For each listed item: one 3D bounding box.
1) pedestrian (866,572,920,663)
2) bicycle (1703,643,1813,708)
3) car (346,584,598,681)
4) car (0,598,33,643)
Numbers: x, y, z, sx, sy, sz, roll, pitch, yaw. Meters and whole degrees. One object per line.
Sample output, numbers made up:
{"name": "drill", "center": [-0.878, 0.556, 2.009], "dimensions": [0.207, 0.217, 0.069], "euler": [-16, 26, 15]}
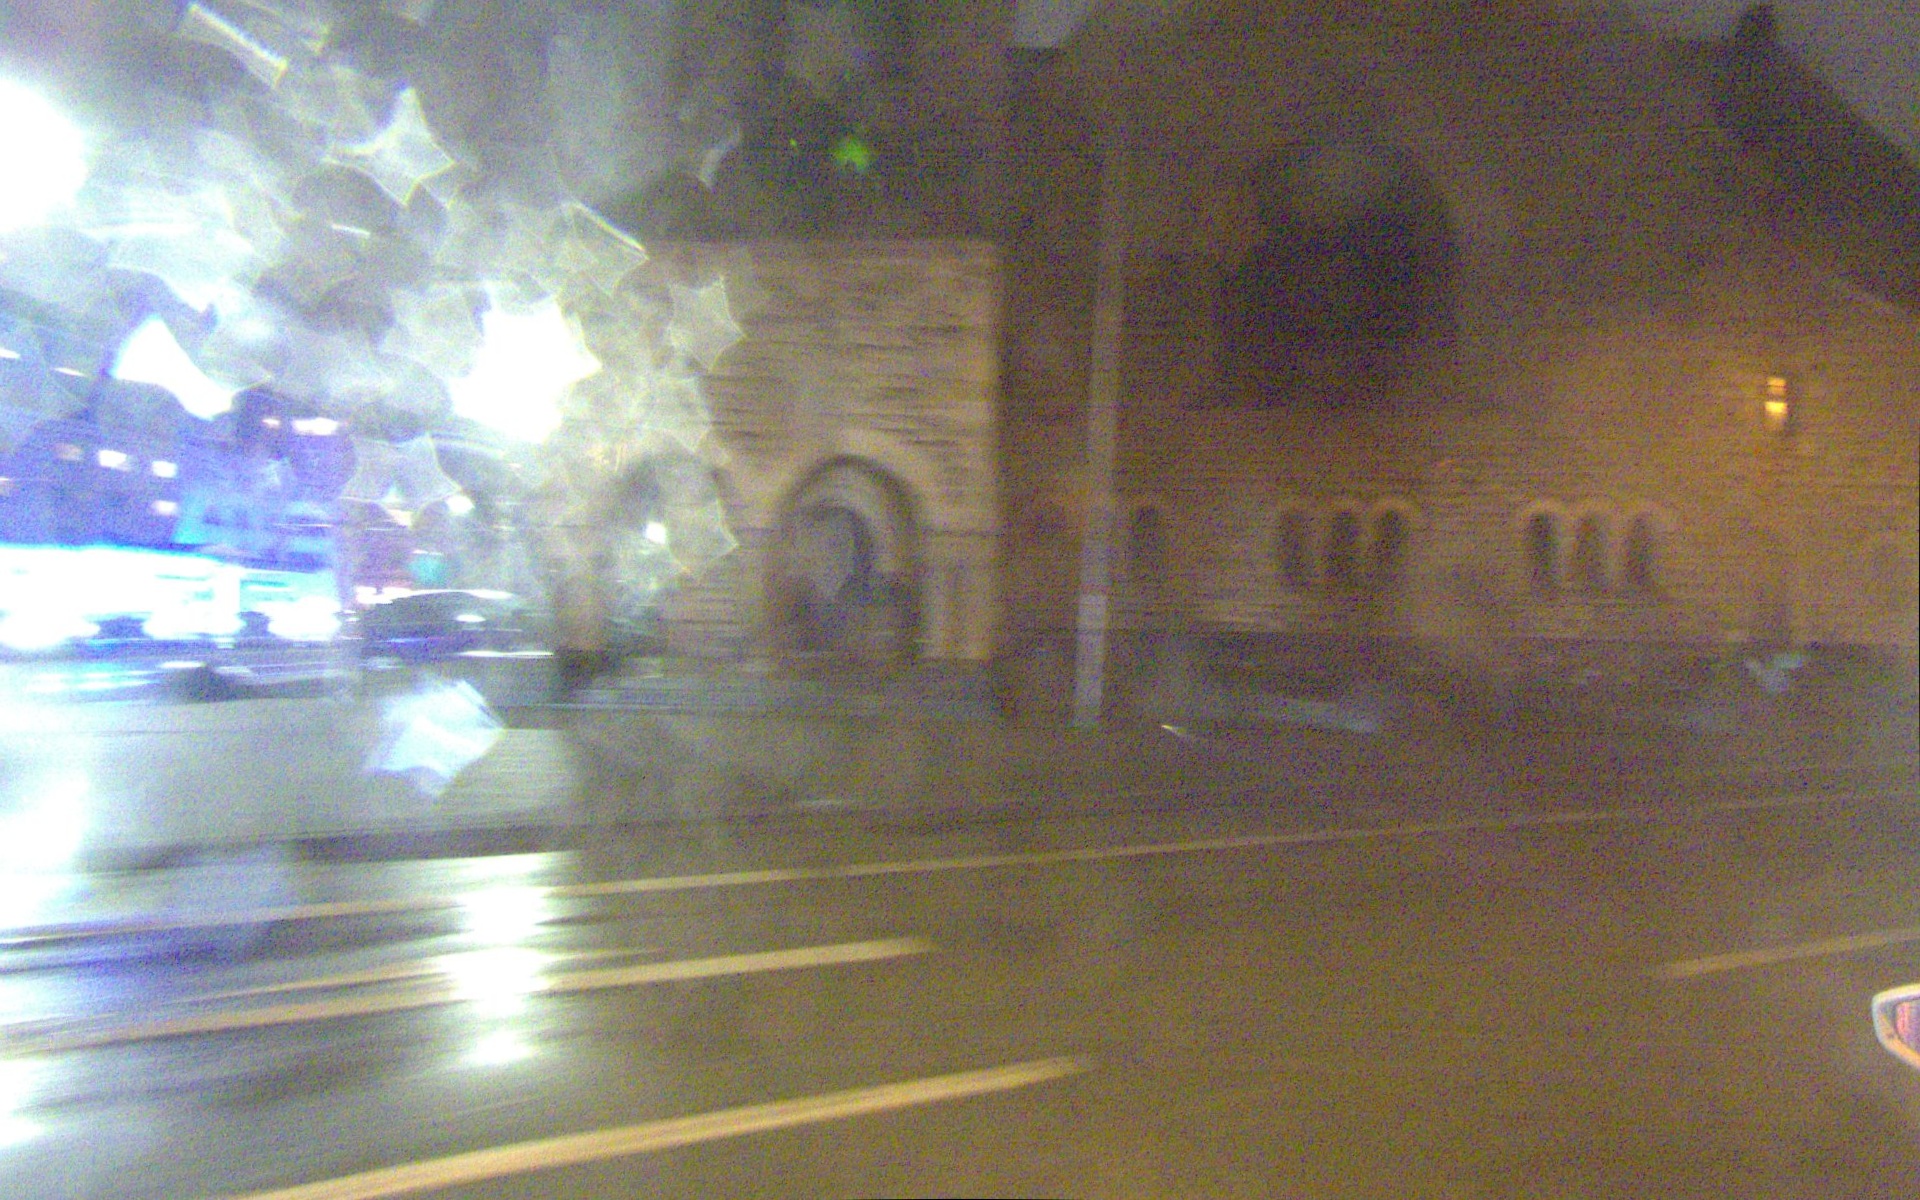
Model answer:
{"name": "pedestrian", "center": [-1.280, 0.330, 19.275], "dimensions": [0.620, 1.698, 0.788], "euler": [1, 0, 41]}
{"name": "bicycle", "center": [15.752, 1.468, 19.905], "dimensions": [0.531, 1.196, 1.970], "euler": [1, -2, -3]}
{"name": "car", "center": [-9.182, 0.629, 19.100], "dimensions": [3.920, 1.750, 1.701], "euler": [0, -3, 2]}
{"name": "car", "center": [-40.634, 0.798, 40.878], "dimensions": [1.817, 1.862, 4.003], "euler": [1, -1, 7]}
